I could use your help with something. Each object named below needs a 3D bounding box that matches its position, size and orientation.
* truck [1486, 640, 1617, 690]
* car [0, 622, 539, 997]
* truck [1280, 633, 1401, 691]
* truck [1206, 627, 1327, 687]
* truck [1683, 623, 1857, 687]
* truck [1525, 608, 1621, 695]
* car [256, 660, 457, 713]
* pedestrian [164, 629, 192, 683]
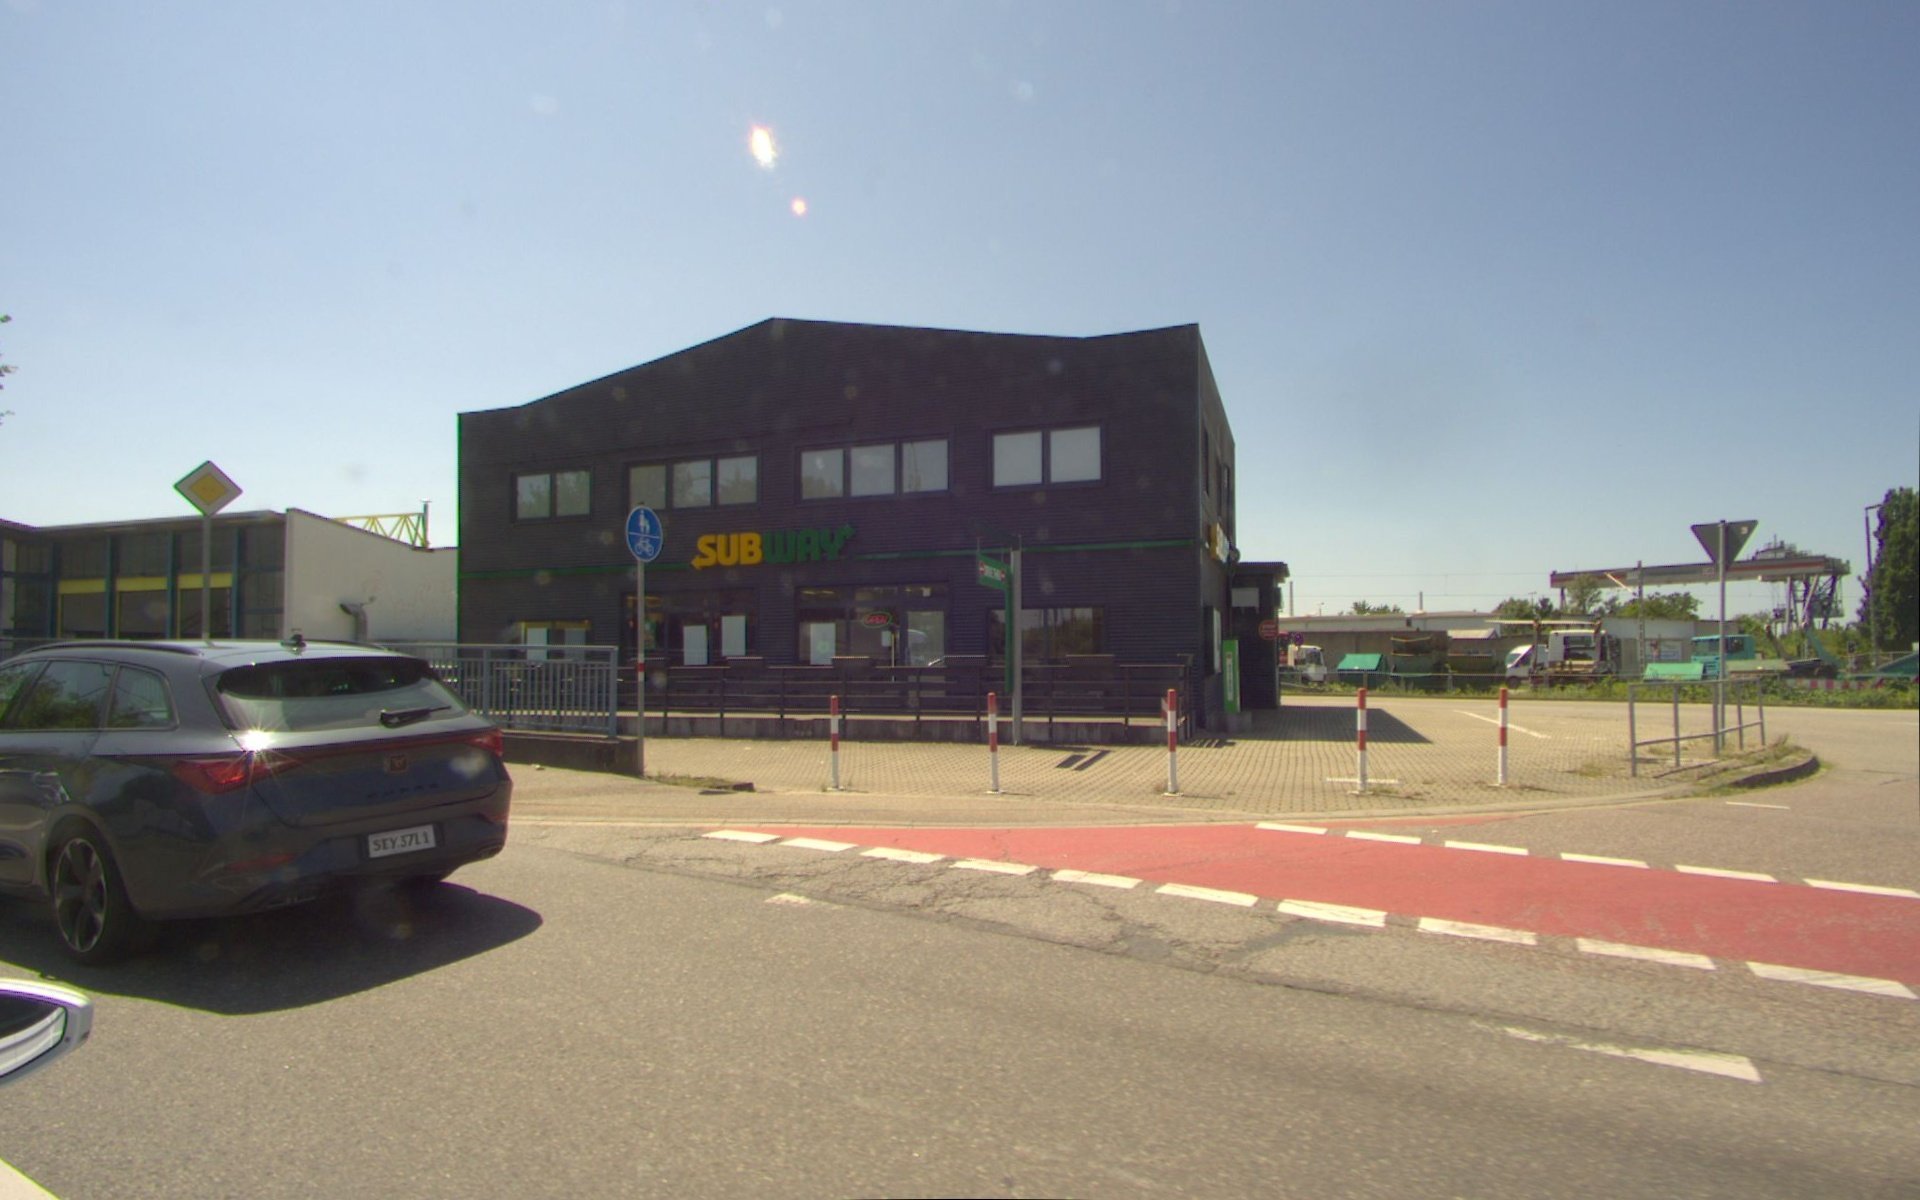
[{"bbox_3d":[34.274,3.723,58.190,5.991,2.825,2.653,0,-2,1],"label":"truck"},{"bbox_3d":[-4.482,0.896,5.602,4.168,1.474,1.605,-1,-2,26],"label":"car"},{"bbox_3d":[21.201,3.450,56.144,5.995,3.132,2.650,-1,-2,13],"label":"truck"},{"bbox_3d":[16.455,3.044,54.132,5.995,3.132,2.650,-1,-2,13],"label":"truck"},{"bbox_3d":[44.530,2.984,55.180,7.410,3.411,2.804,0,-2,-3],"label":"truck"},{"bbox_3d":[26.385,2.191,42.949,2.688,3.423,7.353,-1,-3,38],"label":"truck"},{"bbox_3d":[-18.011,2.542,30.130,5.012,1.375,1.990,1,-2,-31],"label":"car"},{"bbox_3d":[-25.330,1.820,32.442,0.480,1.724,0.522,-1,-1,21],"label":"pedestrian"}]
